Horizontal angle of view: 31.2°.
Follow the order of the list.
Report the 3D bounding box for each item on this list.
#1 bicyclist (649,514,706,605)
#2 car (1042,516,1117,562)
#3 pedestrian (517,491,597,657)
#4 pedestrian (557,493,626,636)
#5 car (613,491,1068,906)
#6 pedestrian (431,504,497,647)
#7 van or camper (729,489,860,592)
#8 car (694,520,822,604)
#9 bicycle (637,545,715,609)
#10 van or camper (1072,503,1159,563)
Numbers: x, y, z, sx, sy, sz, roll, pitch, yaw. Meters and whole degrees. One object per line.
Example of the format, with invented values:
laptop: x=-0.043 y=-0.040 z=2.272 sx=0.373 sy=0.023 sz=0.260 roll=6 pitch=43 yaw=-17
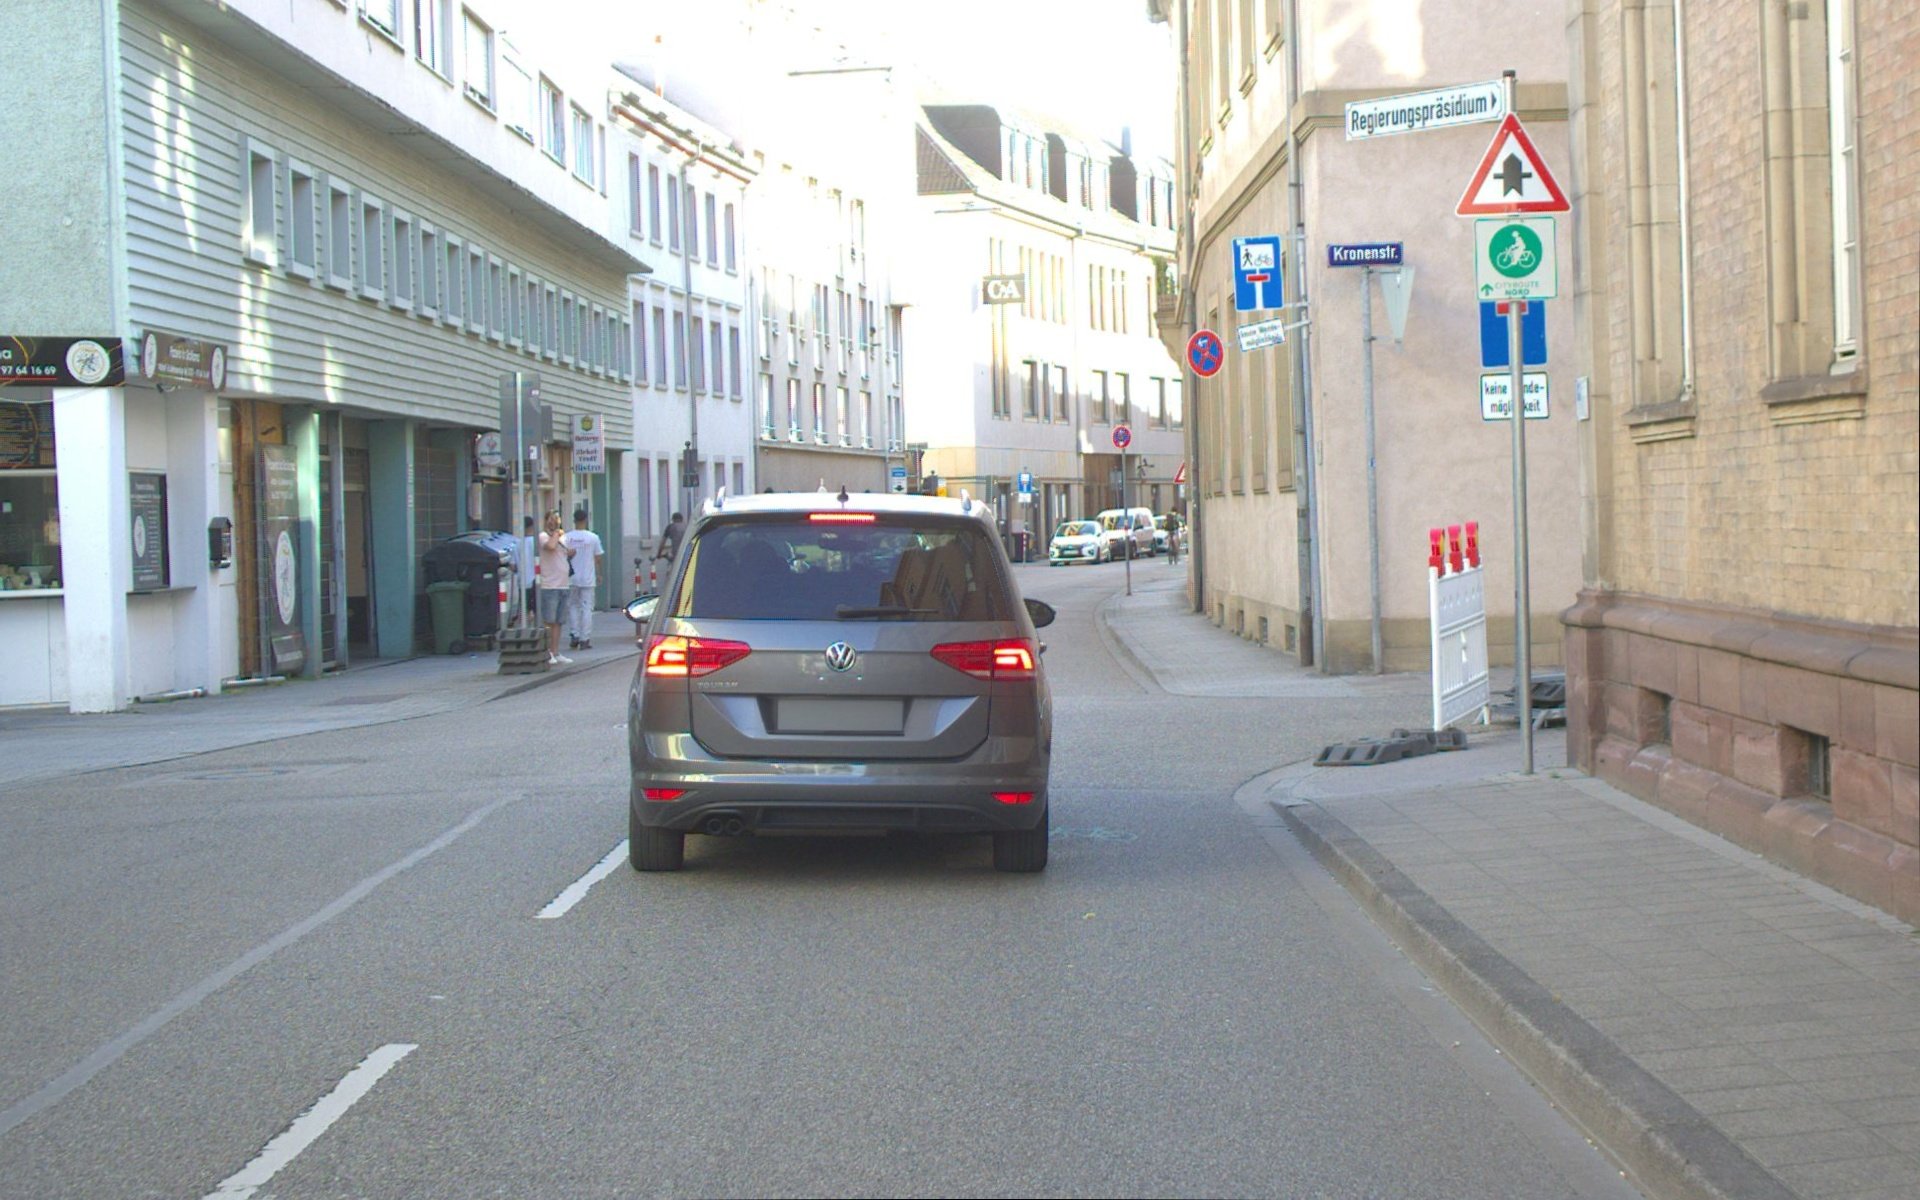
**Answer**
bicyclist: x=-4.930 y=-0.707 z=60.007 sx=0.830 sy=1.556 sz=0.760 roll=-2 pitch=2 yaw=-17
car: x=4.084 y=-2.079 z=116.904 sx=1.735 sy=1.463 sz=3.998 roll=-1 pitch=1 yaw=14
pedestrian: x=-4.481 y=-0.293 z=38.243 sx=0.556 sy=1.823 sz=0.730 roll=-1 pitch=1 yaw=23
pedestrian: x=-4.741 y=-0.459 z=44.279 sx=0.556 sy=1.823 sz=0.730 roll=-1 pitch=1 yaw=23
car: x=-0.582 y=0.346 z=15.637 sx=1.762 sy=1.601 sz=4.001 roll=2 pitch=1 yaw=-3
pedestrian: x=-6.400 y=-0.318 z=44.403 sx=0.728 sy=1.823 sz=0.557 roll=-1 pitch=1 yaw=0
van or camper: x=-3.352 y=-1.245 z=70.485 sx=1.994 sy=2.007 sz=4.482 roll=-1 pitch=1 yaw=6
car: x=-3.766 y=-0.741 z=64.760 sx=1.866 sy=1.463 sz=3.833 roll=-1 pitch=2 yaw=5
bicycle: x=-4.989 y=-0.414 z=60.230 sx=0.830 sy=1.050 sz=2.550 roll=-2 pitch=2 yaw=-17
van or camper: x=5.578 y=-2.406 z=122.629 sx=1.995 sy=2.006 sz=4.995 roll=-1 pitch=2 yaw=16
